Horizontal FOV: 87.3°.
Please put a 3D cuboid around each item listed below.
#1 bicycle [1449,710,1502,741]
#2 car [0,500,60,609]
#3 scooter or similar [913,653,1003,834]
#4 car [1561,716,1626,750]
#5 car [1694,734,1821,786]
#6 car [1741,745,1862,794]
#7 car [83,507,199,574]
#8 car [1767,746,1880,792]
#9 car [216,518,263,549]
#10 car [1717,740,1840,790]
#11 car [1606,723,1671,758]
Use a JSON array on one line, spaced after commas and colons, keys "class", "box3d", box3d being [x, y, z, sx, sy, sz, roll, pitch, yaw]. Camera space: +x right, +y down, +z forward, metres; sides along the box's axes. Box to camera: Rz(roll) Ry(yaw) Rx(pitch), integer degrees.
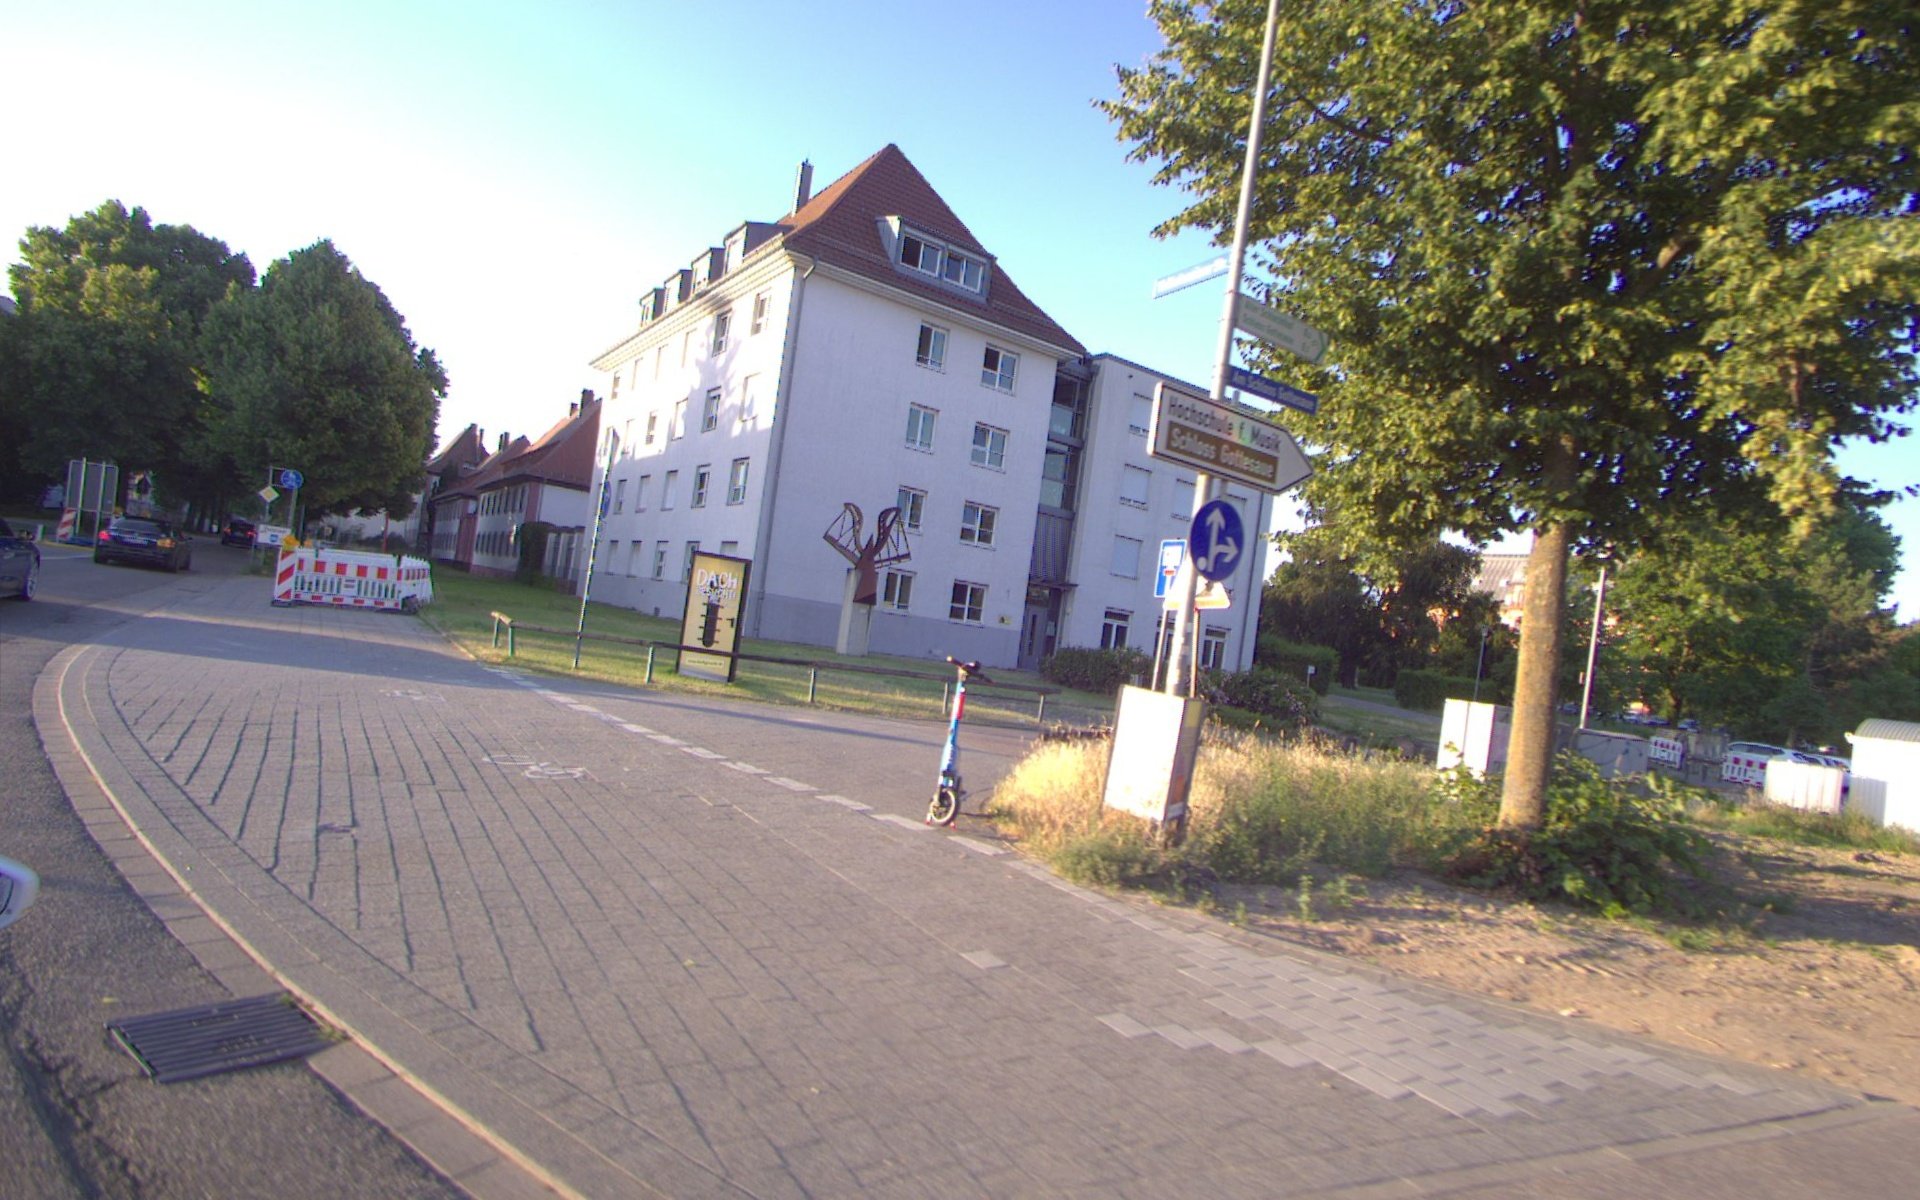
[{"class": "bicycle", "box3d": [20.741, 5.037, 40.486, 0.401, 0.890, 1.831, 8, 1, -33]}, {"class": "car", "box3d": [-13.496, -0.749, 13.019, 1.942, 1.356, 4.628, 12, -3, -34]}, {"class": "scooter or similar", "box3d": [0.007, 1.063, 7.835, 0.434, 1.252, 1.125, 8, -1, 5]}, {"class": "car", "box3d": [37.166, 7.797, 58.985, 3.798, 1.503, 1.876, 9, -2, -37]}, {"class": "car", "box3d": [34.895, 6.971, 44.099, 1.881, 1.503, 3.957, 9, -2, -39]}, {"class": "car", "box3d": [39.217, 7.878, 46.965, 1.881, 1.503, 3.957, 9, -2, -39]}, {"class": "car", "box3d": [-23.412, -1.717, 28.926, 1.941, 1.443, 4.390, 10, -2, -33]}, {"class": "car", "box3d": [43.130, 8.433, 50.312, 1.881, 1.503, 3.957, 9, -2, -39]}, {"class": "car", "box3d": [-46.519, -4.308, 65.006, 1.939, 1.589, 4.392, 10, -1, -32]}, {"class": "car", "box3d": [37.268, 7.491, 45.852, 1.881, 1.503, 3.957, 9, -2, -39]}, {"class": "car", "box3d": [39.079, 8.099, 57.940, 3.798, 1.503, 1.876, 9, -2, -37]}]
